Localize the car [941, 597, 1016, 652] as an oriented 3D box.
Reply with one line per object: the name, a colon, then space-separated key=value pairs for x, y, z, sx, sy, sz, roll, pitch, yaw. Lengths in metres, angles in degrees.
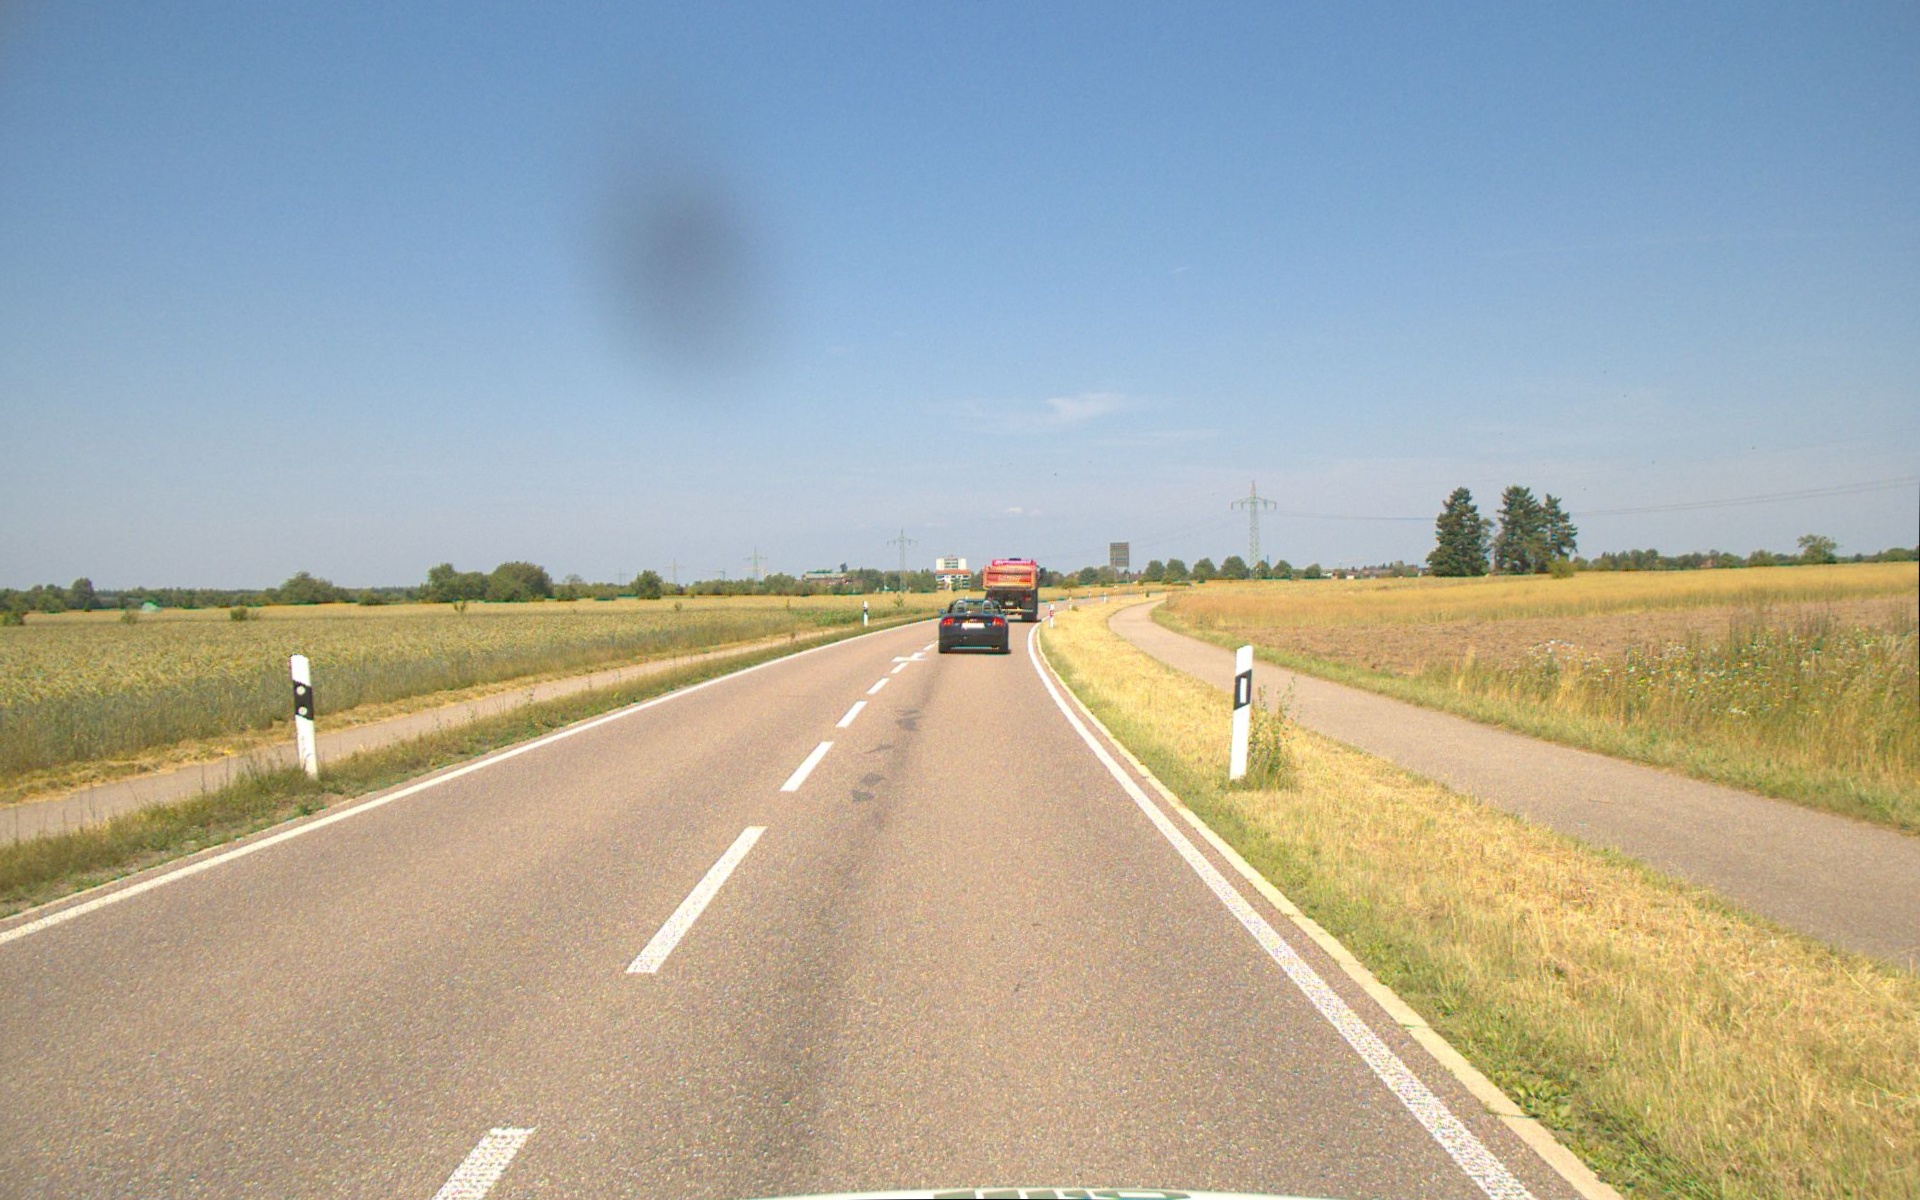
car: x=0.508 y=0.588 z=41.395 sx=1.707 sy=1.302 sz=4.002 roll=0 pitch=0 yaw=3

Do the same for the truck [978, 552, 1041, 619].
truck: x=2.548 y=-0.670 z=82.265 sx=2.876 sy=3.143 sz=7.199 roll=0 pitch=0 yaw=4
